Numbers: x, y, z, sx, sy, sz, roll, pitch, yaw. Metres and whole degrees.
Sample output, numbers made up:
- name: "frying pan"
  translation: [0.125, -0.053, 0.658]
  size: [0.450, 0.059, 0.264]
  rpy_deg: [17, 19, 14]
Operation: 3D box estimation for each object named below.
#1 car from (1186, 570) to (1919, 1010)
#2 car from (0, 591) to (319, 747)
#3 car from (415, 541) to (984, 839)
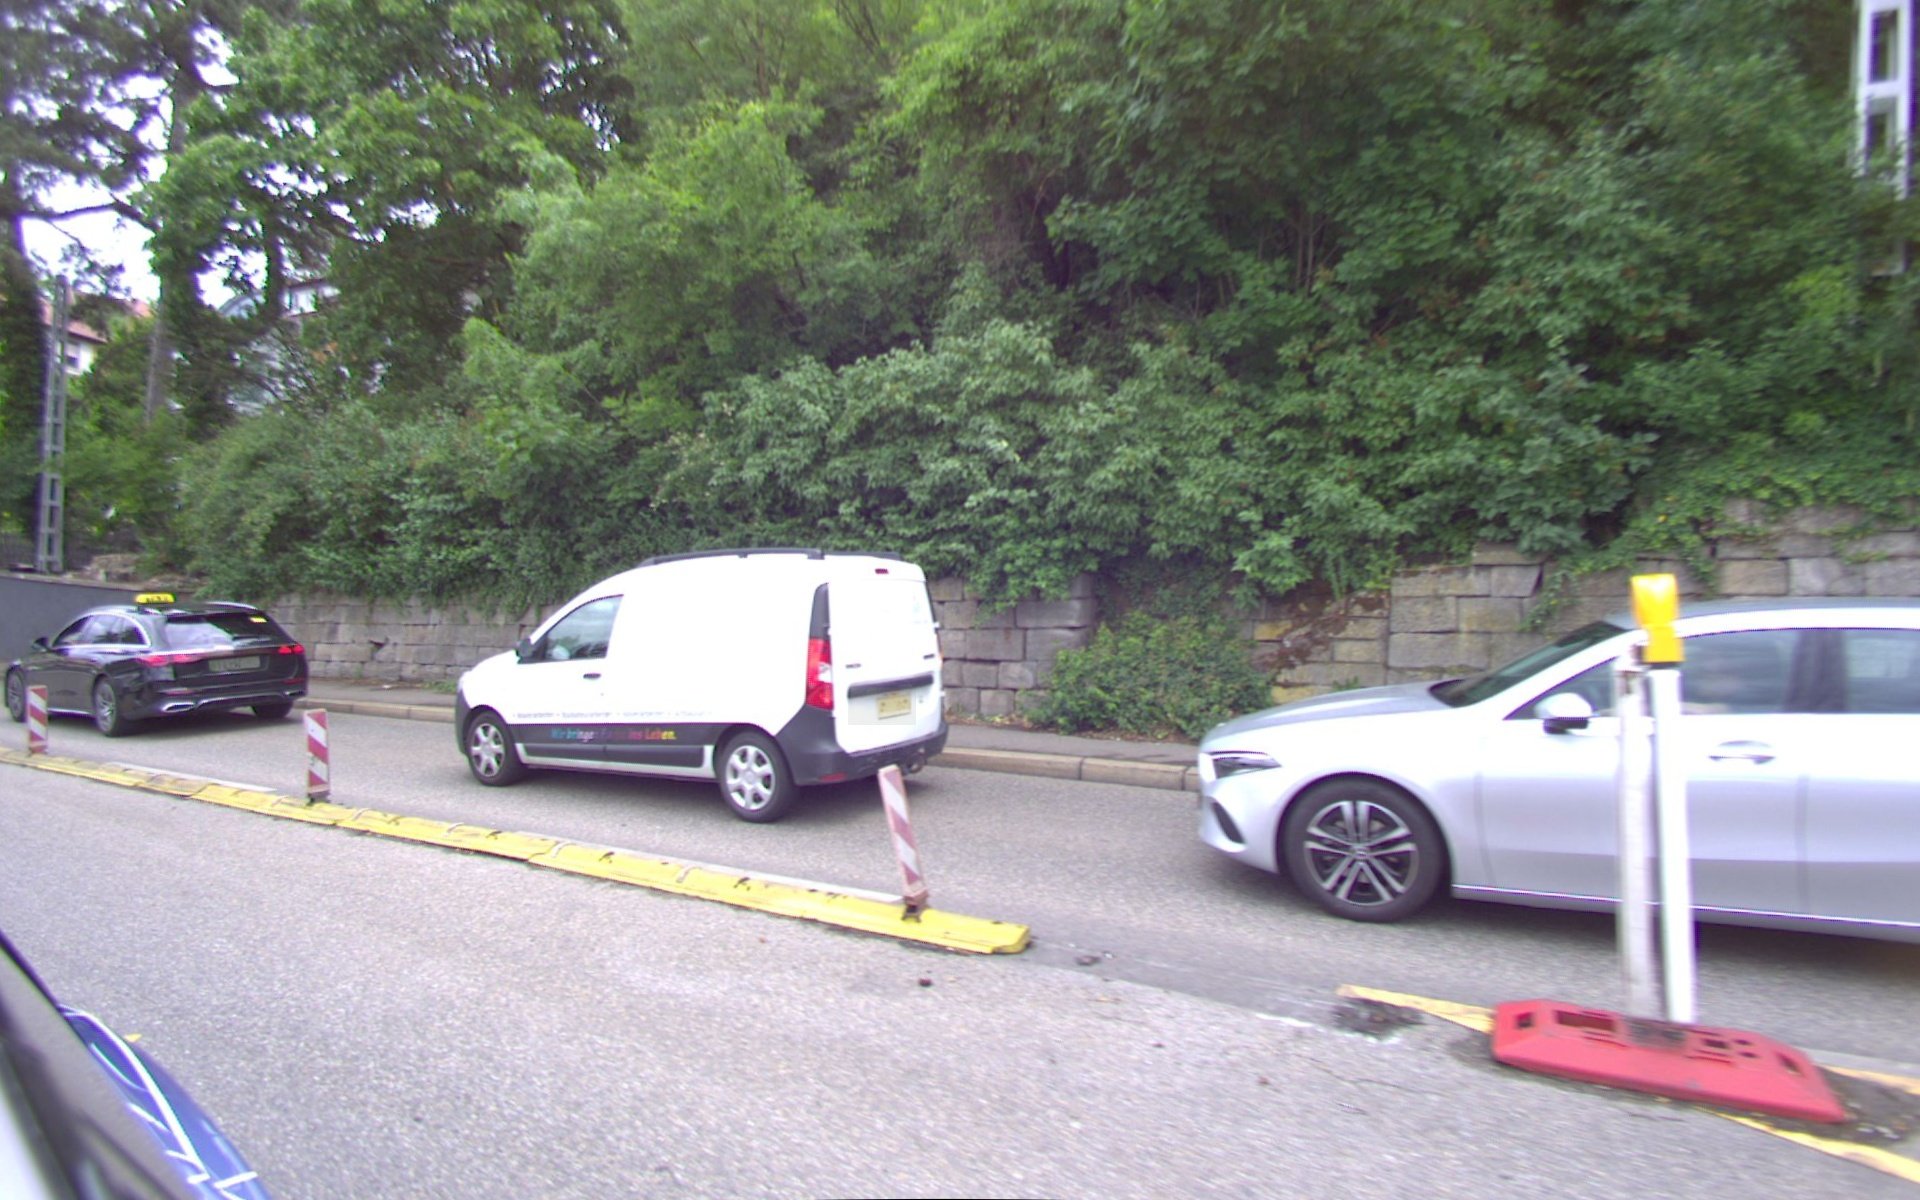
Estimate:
- name: "car"
  translation: [3.371, 0.648, 4.503]
  size: [4.294, 1.519, 1.779]
  rpy_deg: [-1, 1, 30]
- name: "car"
  translation: [-10.204, 0.743, 12.620]
  size: [4.637, 1.604, 1.818]
  rpy_deg: [-1, 1, 31]
- name: "car"
  translation: [-2.142, 0.542, 7.976]
  size: [4.325, 1.804, 1.790]
  rpy_deg: [-1, 1, 30]
